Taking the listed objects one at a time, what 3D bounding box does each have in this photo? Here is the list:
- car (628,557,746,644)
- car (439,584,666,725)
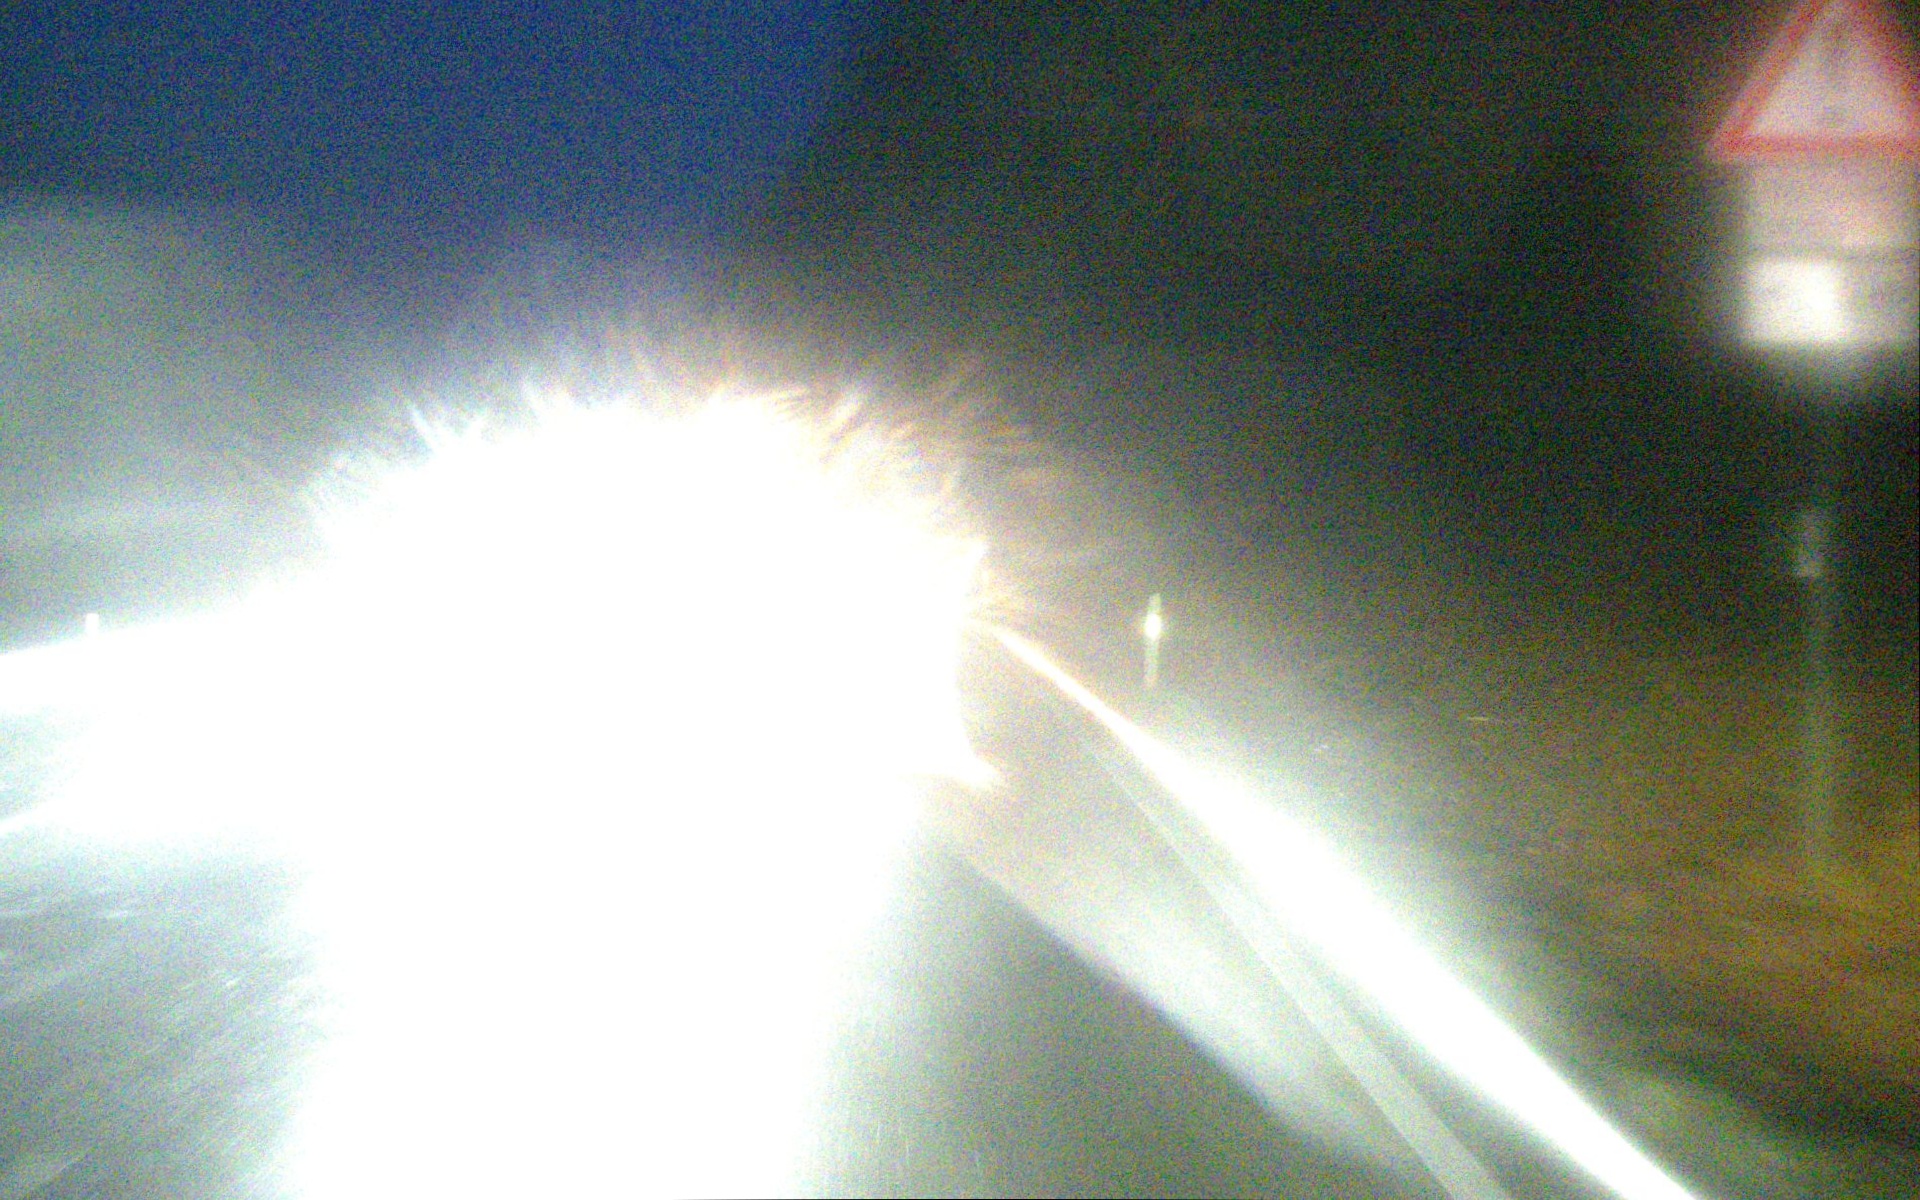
[{"bbox_3d":[-5.041,-0.025,64.001,1.855,1.516,4.681,1,1,-1],"label":"car"},{"bbox_3d":[-4.519,0.595,38.744,1.976,1.457,4.282,1,0,1],"label":"car"}]
